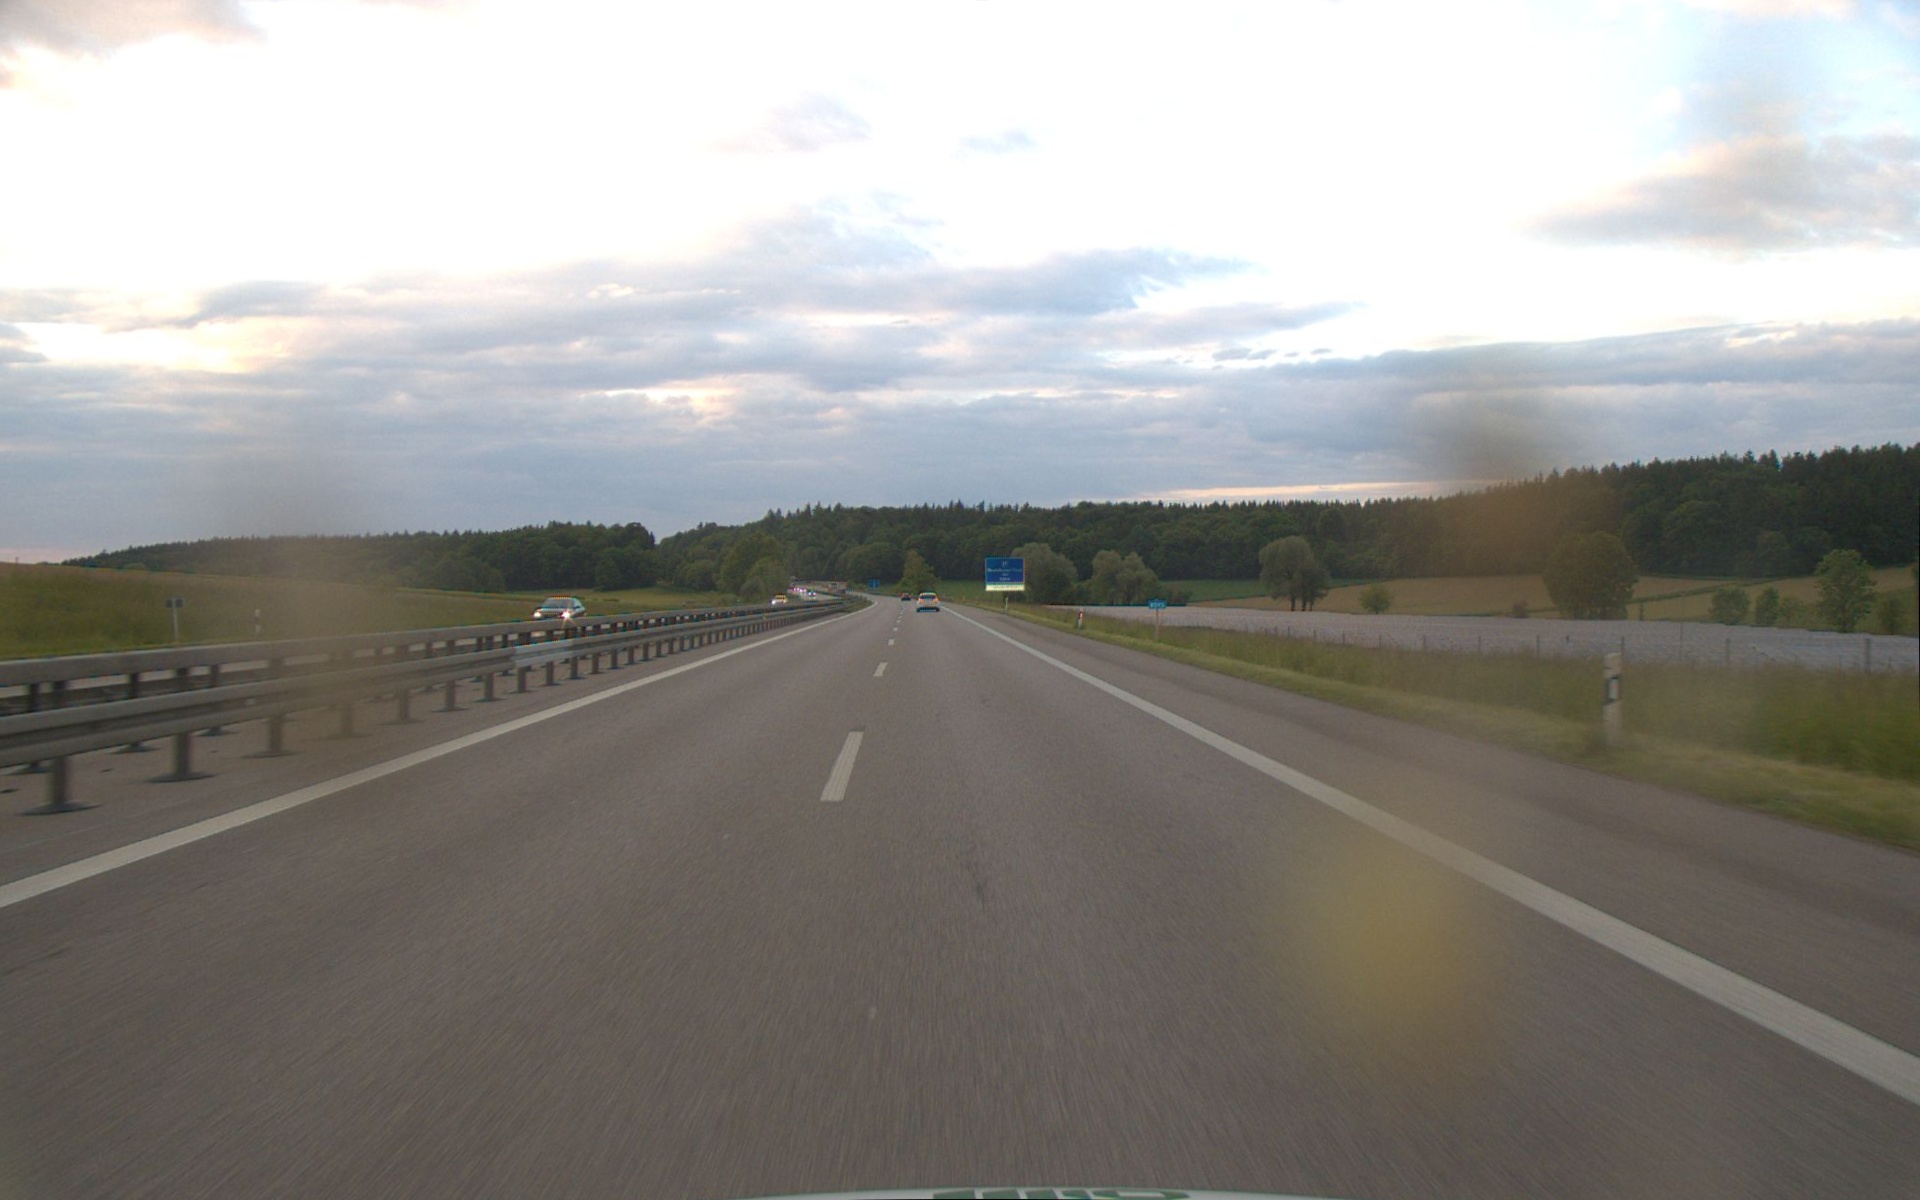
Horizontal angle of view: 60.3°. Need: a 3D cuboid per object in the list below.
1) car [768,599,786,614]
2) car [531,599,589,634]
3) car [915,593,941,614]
[{"bbox_3d":[-22.385,0.767,202.372,1.754,1.729,4.588,1,0,-2],"label":"car"},{"bbox_3d":[-17.476,0.684,72.441,1.640,1.384,4.009,3,0,-2],"label":"car"},{"bbox_3d":[-2.551,0.249,131.013,1.913,1.558,4.077,1,0,-4],"label":"car"}]
